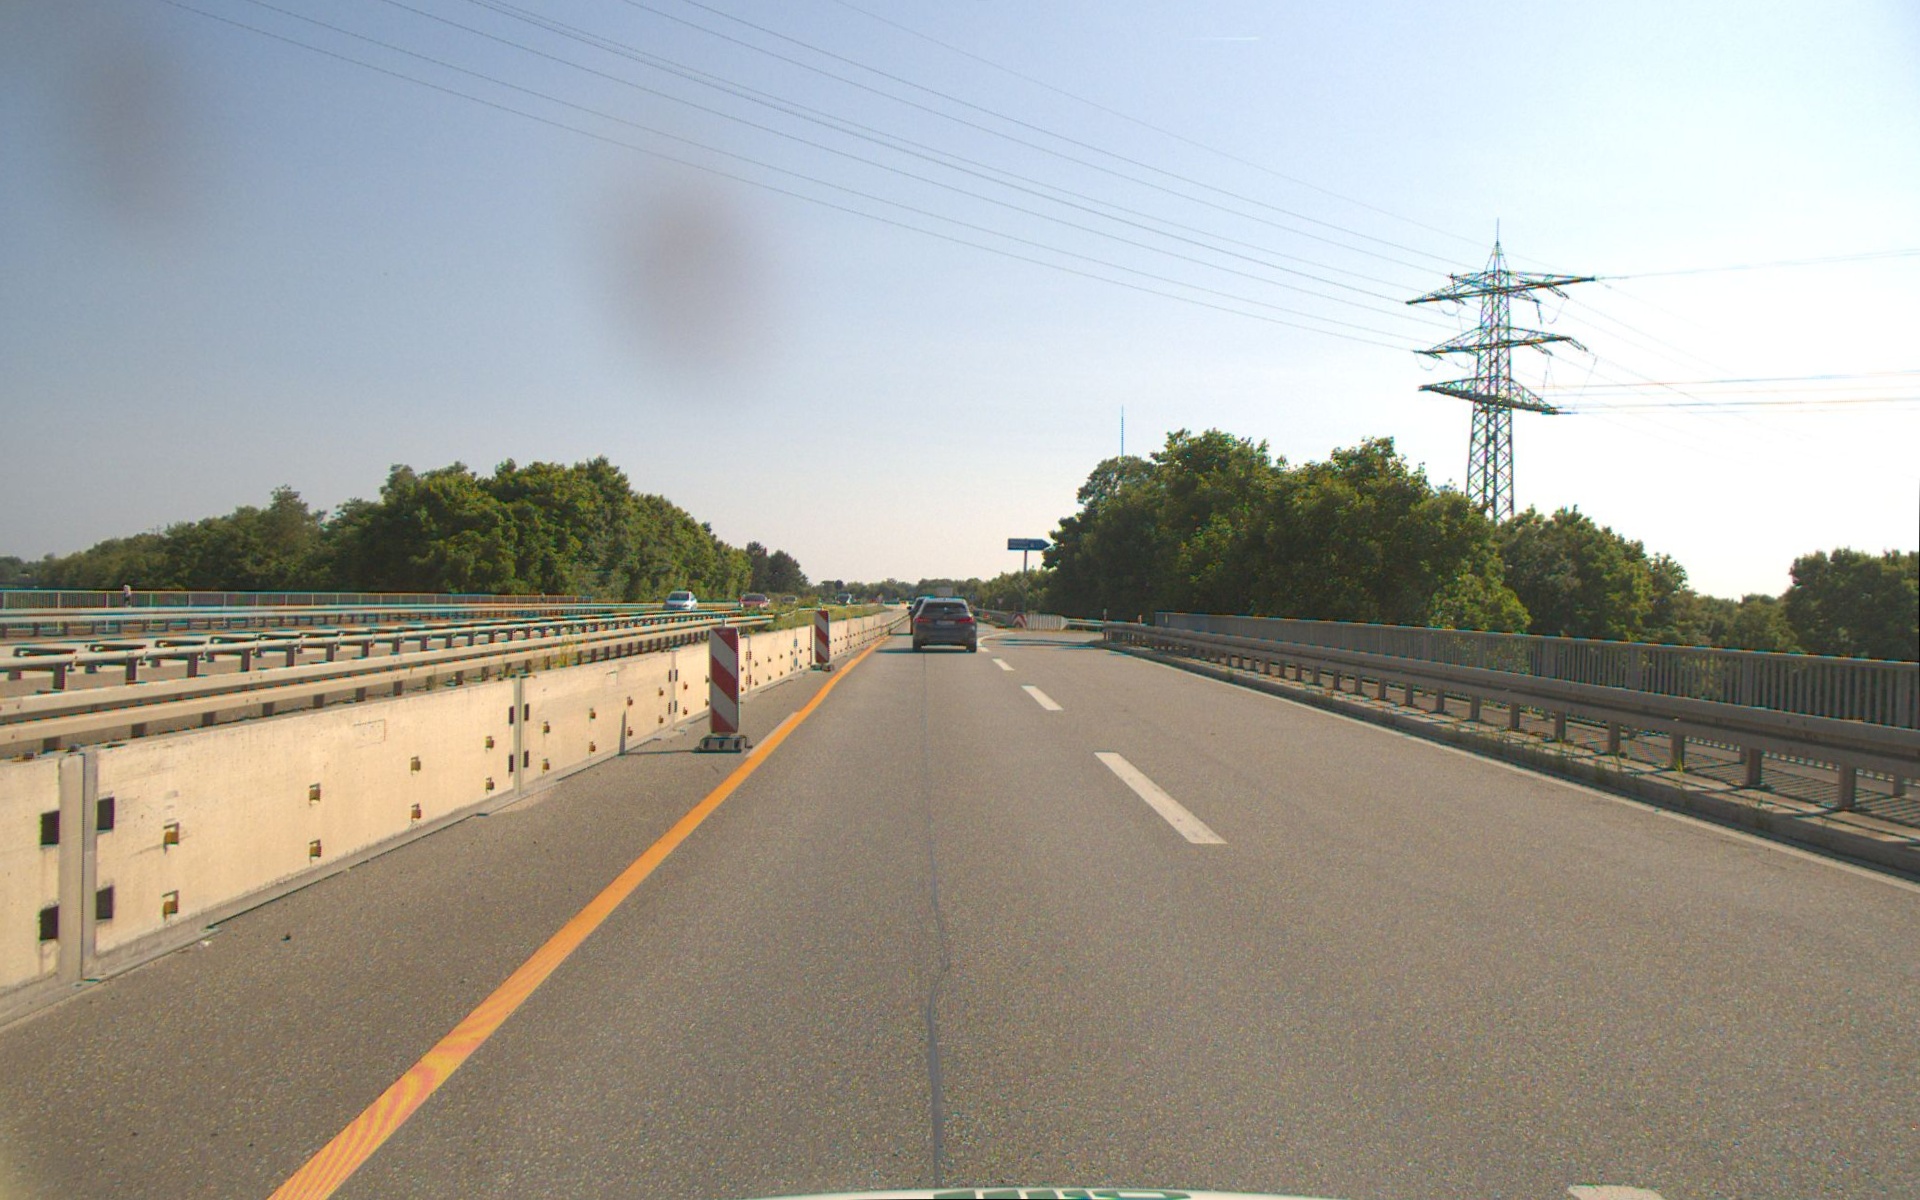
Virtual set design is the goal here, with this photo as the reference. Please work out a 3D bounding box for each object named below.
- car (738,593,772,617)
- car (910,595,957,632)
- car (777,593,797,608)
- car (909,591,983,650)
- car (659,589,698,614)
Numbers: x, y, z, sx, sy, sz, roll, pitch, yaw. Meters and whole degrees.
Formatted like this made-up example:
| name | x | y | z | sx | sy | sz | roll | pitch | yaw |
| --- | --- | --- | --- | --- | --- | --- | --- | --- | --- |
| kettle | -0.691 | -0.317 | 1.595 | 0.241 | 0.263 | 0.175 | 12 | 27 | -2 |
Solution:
| name | x | y | z | sx | sy | sz | roll | pitch | yaw |
| --- | --- | --- | --- | --- | --- | --- | --- | --- | --- |
| car | -12.776 | 0.291 | 103.309 | 1.680 | 1.421 | 4.219 | 1 | 0 | -2 |
| car | -1.137 | 0.565 | 71.689 | 1.953 | 1.594 | 3.999 | 0 | 0 | -1 |
| car | -18.448 | 0.025 | 176.820 | 1.727 | 1.611 | 4.421 | 0 | 0 | -1 |
| car | -0.424 | 0.552 | 46.041 | 1.882 | 1.520 | 3.998 | 1 | 0 | -3 |
| car | -17.054 | 0.089 | 100.499 | 1.741 | 1.417 | 4.124 | 0 | 0 | -1 |
